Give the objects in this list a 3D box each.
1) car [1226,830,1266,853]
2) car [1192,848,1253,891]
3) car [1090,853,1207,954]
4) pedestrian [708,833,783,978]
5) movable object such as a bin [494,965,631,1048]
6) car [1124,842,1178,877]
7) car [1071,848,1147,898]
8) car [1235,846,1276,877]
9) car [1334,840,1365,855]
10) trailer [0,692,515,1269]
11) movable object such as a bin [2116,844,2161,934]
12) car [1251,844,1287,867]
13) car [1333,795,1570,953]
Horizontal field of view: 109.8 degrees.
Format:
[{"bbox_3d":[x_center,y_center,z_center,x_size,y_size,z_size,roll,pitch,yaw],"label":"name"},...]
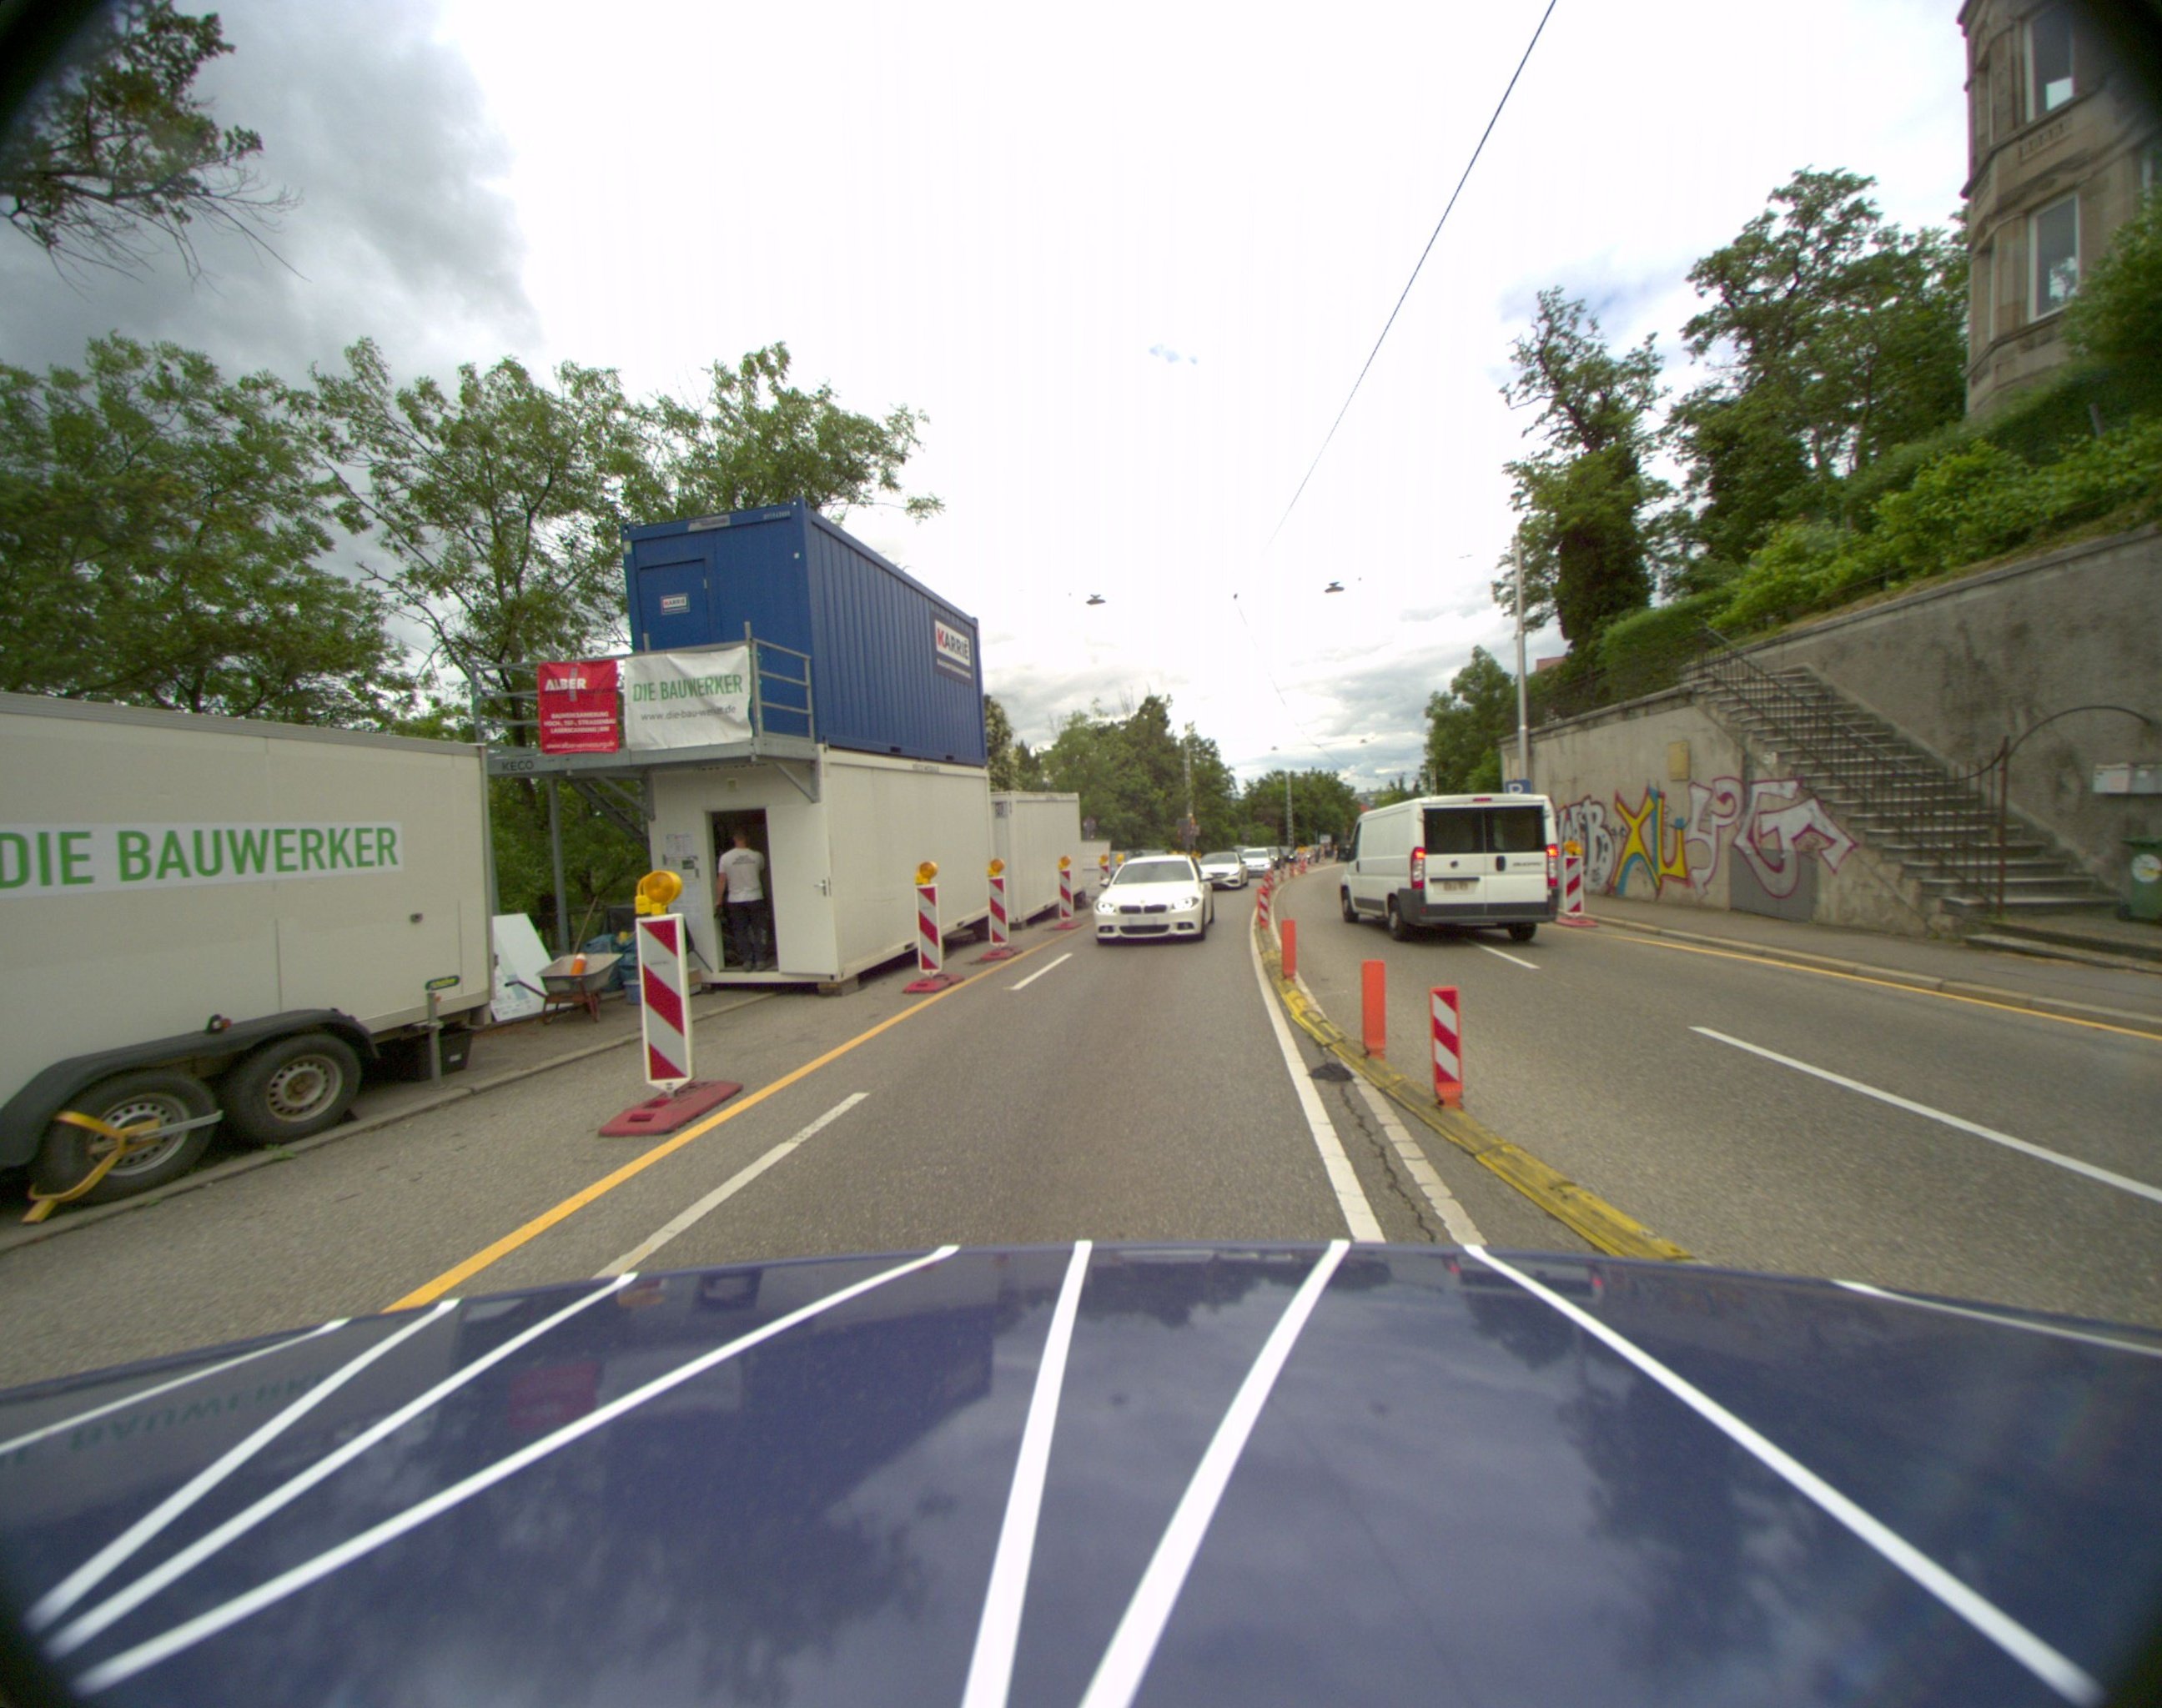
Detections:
[{"bbox_3d":[13.283,-1.041,60.949,1.854,1.665,4.286,5,4,29],"label":"car"},{"bbox_3d":[5.587,0.558,29.607,1.790,1.472,4.249,-2,1,17],"label":"car"},{"bbox_3d":[1.387,0.791,14.078,1.791,1.472,4.247,-2,1,9],"label":"car"},{"bbox_3d":[-4.071,0.605,9.210,0.651,1.651,0.649,-4,1,-30],"label":"pedestrian"},{"bbox_3d":[-5.202,1.517,7.670,0.705,0.636,0.887,-1,1,10],"label":"movable object such as a bin"},{"bbox_3d":[3.824,0.226,40.704,1.864,1.665,4.651,3,2,17],"label":"car"},{"bbox_3d":[1.149,0.660,28.734,1.842,1.633,4.507,-3,0,15],"label":"car"},{"bbox_3d":[9.566,0.362,41.429,1.790,1.542,4.250,-2,0,18],"label":"car"},{"bbox_3d":[27.759,-0.662,78.558,1.788,1.472,4.253,-2,0,37],"label":"car"},{"bbox_3d":[-5.806,0.567,3.499,2.111,2.535,5.121,-1,1,7],"label":"trailer"},{"bbox_3d":[11.229,0.353,7.817,0.454,0.906,0.508,-2,1,13],"label":"movable object such as a bin"},{"bbox_3d":[13.697,0.074,55.150,1.795,1.502,4.006,0,2,25],"label":"car"},{"bbox_3d":[5.954,0.276,13.019,2.071,2.175,4.964,-1,0,6],"label":"car"}]
